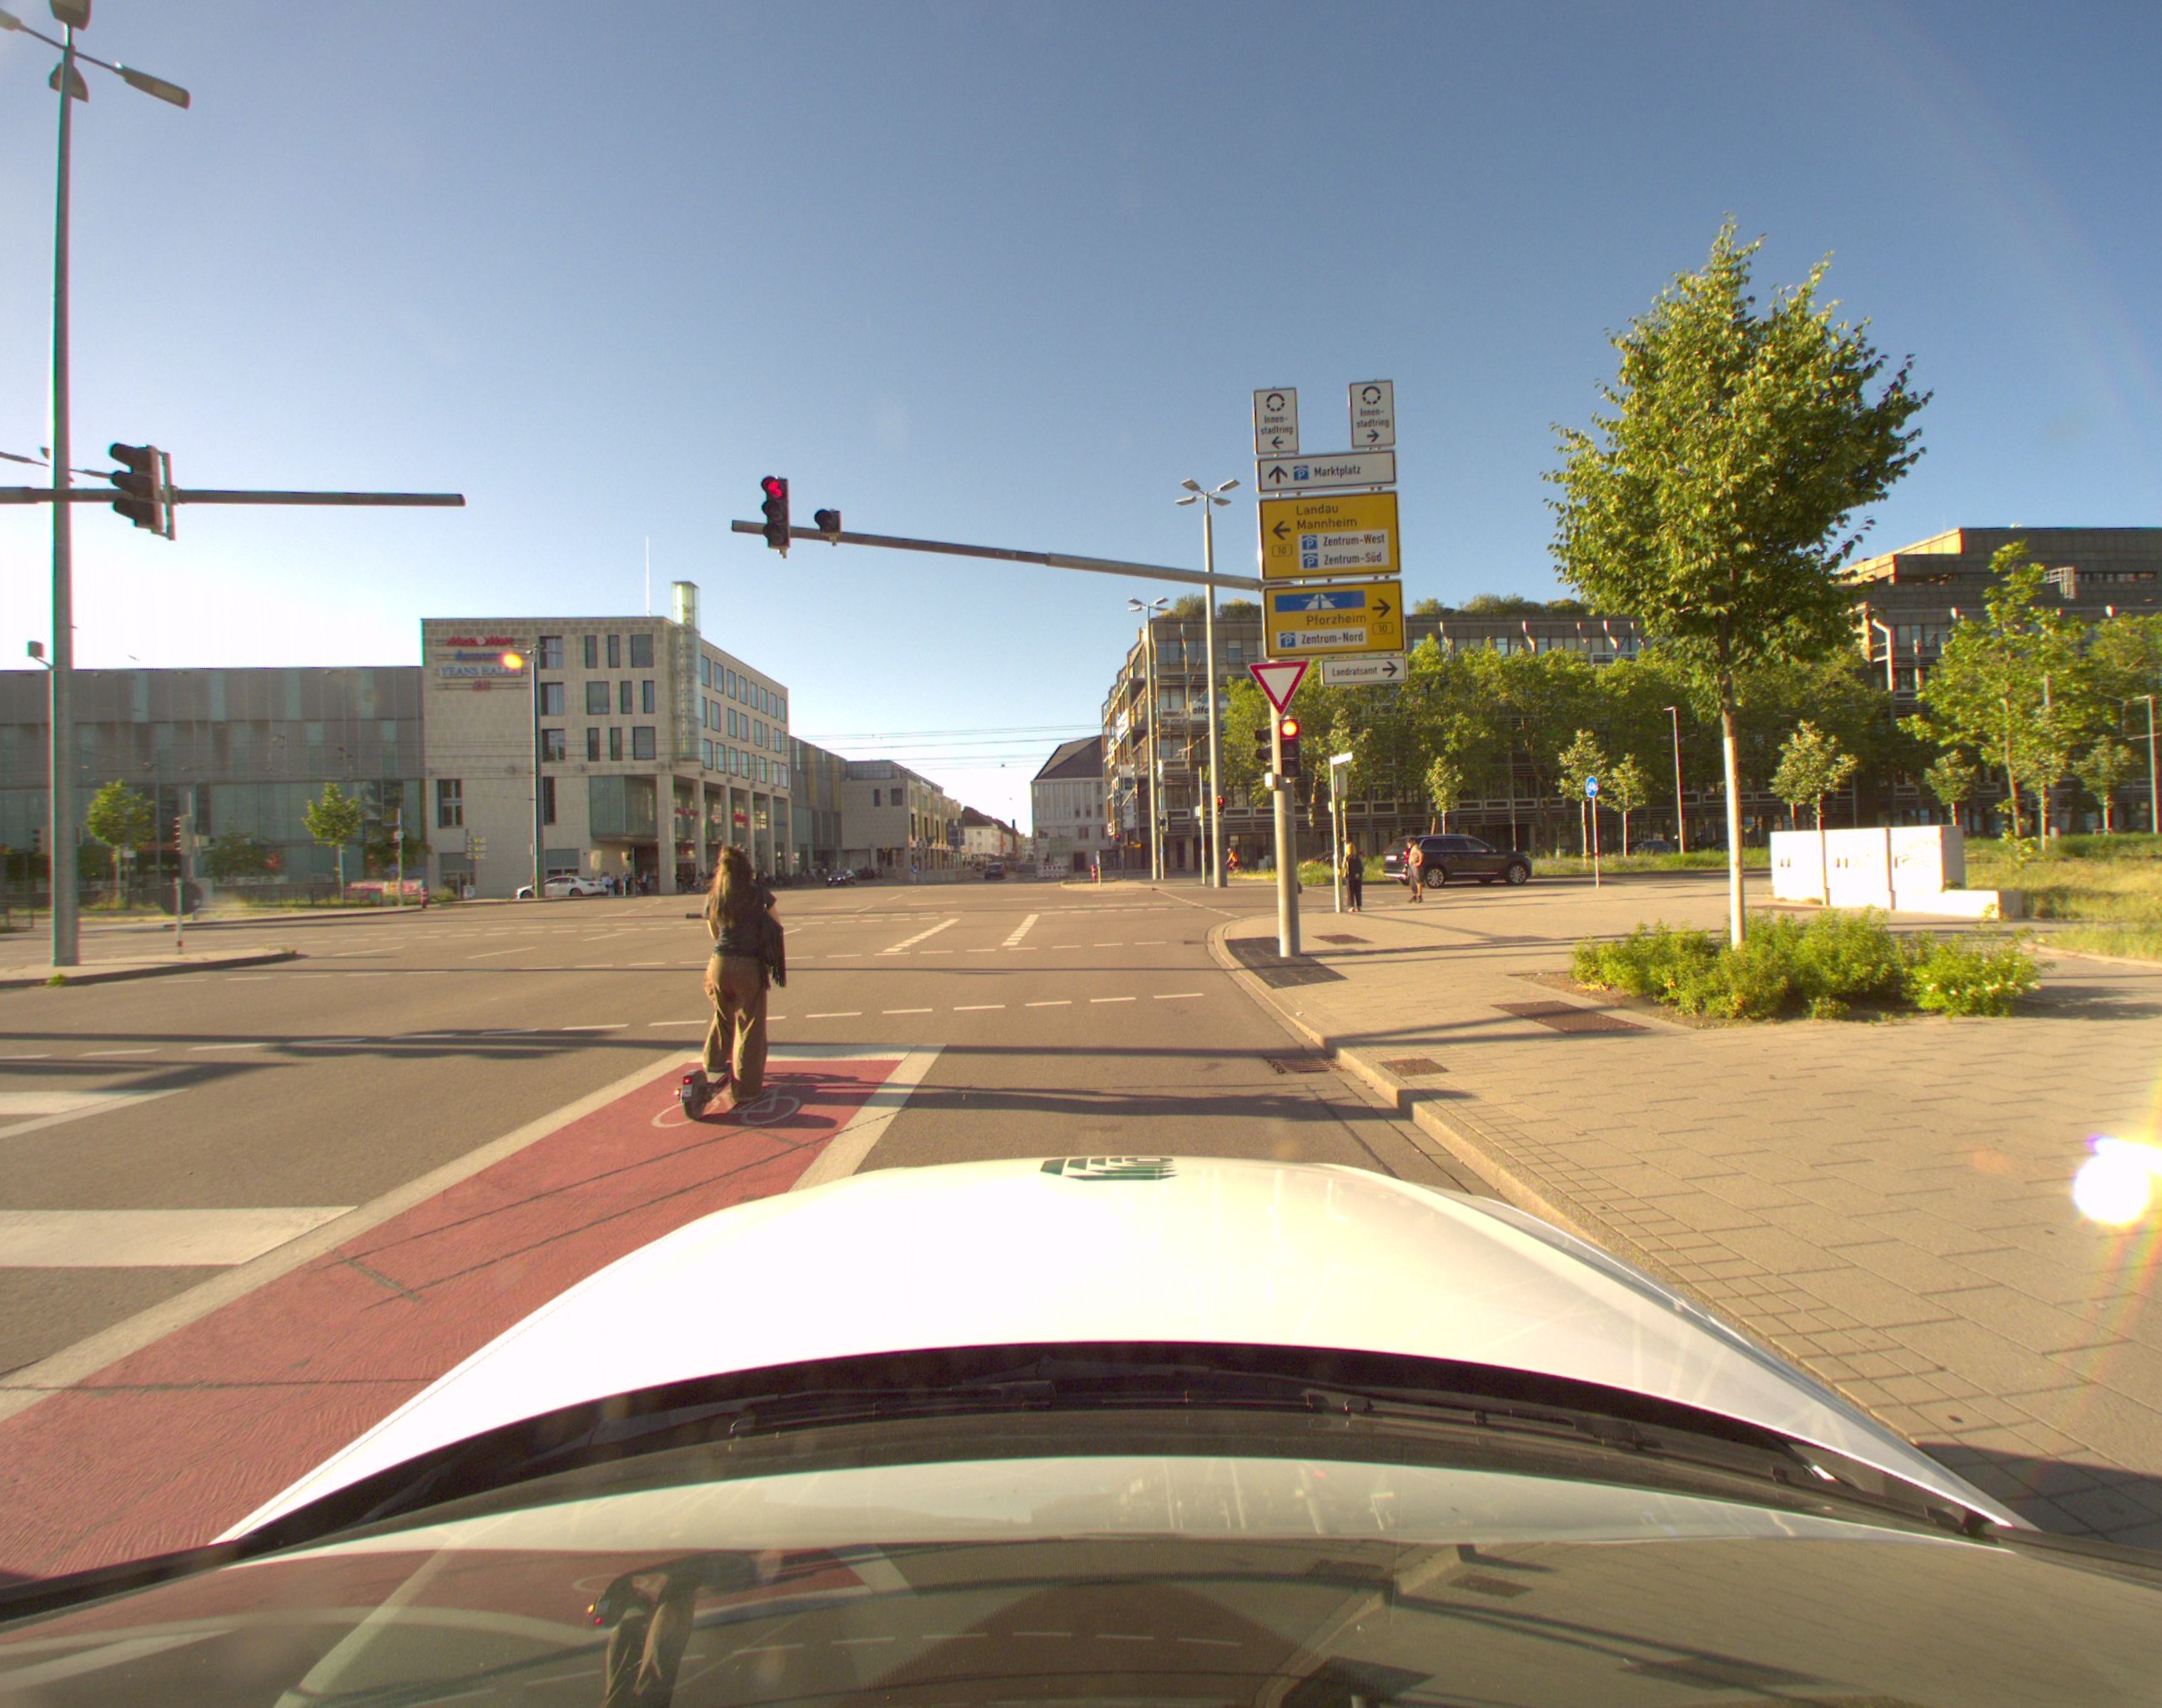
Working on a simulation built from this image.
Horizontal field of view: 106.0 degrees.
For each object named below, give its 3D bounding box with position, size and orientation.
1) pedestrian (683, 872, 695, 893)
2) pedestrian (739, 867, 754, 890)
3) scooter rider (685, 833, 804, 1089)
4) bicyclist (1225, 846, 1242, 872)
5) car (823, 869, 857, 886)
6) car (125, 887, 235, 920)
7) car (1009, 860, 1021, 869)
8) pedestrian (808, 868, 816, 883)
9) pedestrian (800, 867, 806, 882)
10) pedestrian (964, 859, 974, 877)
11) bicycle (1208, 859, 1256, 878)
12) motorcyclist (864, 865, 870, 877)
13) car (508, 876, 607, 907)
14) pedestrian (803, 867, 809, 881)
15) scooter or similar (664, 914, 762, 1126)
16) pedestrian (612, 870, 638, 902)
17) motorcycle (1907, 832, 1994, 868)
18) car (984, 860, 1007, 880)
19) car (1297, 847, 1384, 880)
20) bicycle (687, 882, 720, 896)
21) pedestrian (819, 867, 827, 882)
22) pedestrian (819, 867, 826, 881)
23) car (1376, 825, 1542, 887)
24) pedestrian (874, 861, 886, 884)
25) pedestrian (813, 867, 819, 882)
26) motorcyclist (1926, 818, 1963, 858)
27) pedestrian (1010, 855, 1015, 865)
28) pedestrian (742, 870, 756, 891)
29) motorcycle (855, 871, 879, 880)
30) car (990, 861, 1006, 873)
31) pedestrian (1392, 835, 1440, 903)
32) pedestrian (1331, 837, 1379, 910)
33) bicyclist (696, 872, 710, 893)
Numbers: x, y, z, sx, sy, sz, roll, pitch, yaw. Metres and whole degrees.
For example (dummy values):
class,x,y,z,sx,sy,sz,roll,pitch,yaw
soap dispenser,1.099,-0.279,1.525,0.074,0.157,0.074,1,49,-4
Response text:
class,x,y,z,sx,sy,sz,roll,pitch,yaw
pedestrian,-30.472,2.212,63.343,0.590,1.646,0.629,-2,0,1
pedestrian,-27.532,2.041,67.097,0.935,1.864,0.541,-2,0,18
scooter rider,-2.120,0.645,5.175,0.552,1.530,0.448,-2,0,-7
bicyclist,8.827,0.311,47.072,0.820,1.474,0.652,-2,0,-2
car,-20.840,1.998,70.492,1.670,1.357,4.021,-2,0,1
car,-53.813,2.935,48.696,4.392,1.684,1.824,-2,0,-2
car,-11.817,1.873,146.245,1.652,1.458,3.543,-2,0,2
pedestrian,-30.943,2.442,93.650,0.465,1.729,0.632,-1,-1,35
pedestrian,-32.455,2.370,94.974,0.465,1.729,0.524,-1,-1,40
pedestrian,-11.758,1.455,85.534,0.896,1.782,0.809,-2,0,1
bicycle,8.708,0.823,47.056,2.561,0.975,1.047,-2,0,-1
motorcyclist,-25.989,2.104,98.888,0.627,1.406,0.661,0,-1,-7
car,-32.561,2.309,50.773,4.836,1.684,1.822,-2,0,-5
pedestrian,-32.571,2.384,96.536,0.465,1.729,0.524,-1,-1,40
scooter or similar,-2.222,0.957,4.978,0.306,1.107,0.835,-2,0,-9
pedestrian,-25.127,1.770,44.909,0.821,1.675,1.004,-2,0,-2
motorcycle,31.196,-0.155,29.227,2.591,1.208,0.728,-2,1,-6
car,-7.758,1.445,74.154,1.815,1.684,3.996,-2,0,-2
car,14.706,0.527,46.243,4.287,1.684,1.820,-2,0,-9
bicycle,-27.784,2.579,59.995,0.629,0.903,2.232,-2,0,31
pedestrian,-29.931,2.347,94.370,0.465,1.729,0.699,-1,-1,40
pedestrian,-30.724,2.372,96.729,0.465,1.729,0.632,-1,-1,30
car,12.687,0.060,27.486,4.812,1.864,1.881,-2,0,-8
pedestrian,-15.704,1.444,63.708,0.697,1.688,0.620,-2,0,2
pedestrian,-31.414,2.428,96.661,0.465,1.683,0.524,-1,-1,40
motorcyclist,30.959,-0.579,29.209,0.656,1.423,0.647,-2,1,-6
pedestrian,-13.910,1.209,165.261,0.907,1.965,0.823,0,-1,1
pedestrian,-26.820,2.142,65.803,0.771,1.638,0.628,-2,0,16
motorcycle,-25.976,2.634,98.844,2.600,0.993,1.113,0,-1,-8
car,-11.021,1.762,108.527,1.652,1.458,3.543,-2,0,2
pedestrian,8.667,0.374,21.086,0.869,1.706,0.768,-2,0,0
pedestrian,6.344,0.444,18.903,0.763,1.614,0.874,-2,0,0
bicyclist,-27.835,2.100,59.955,0.620,1.448,0.592,-2,0,29
